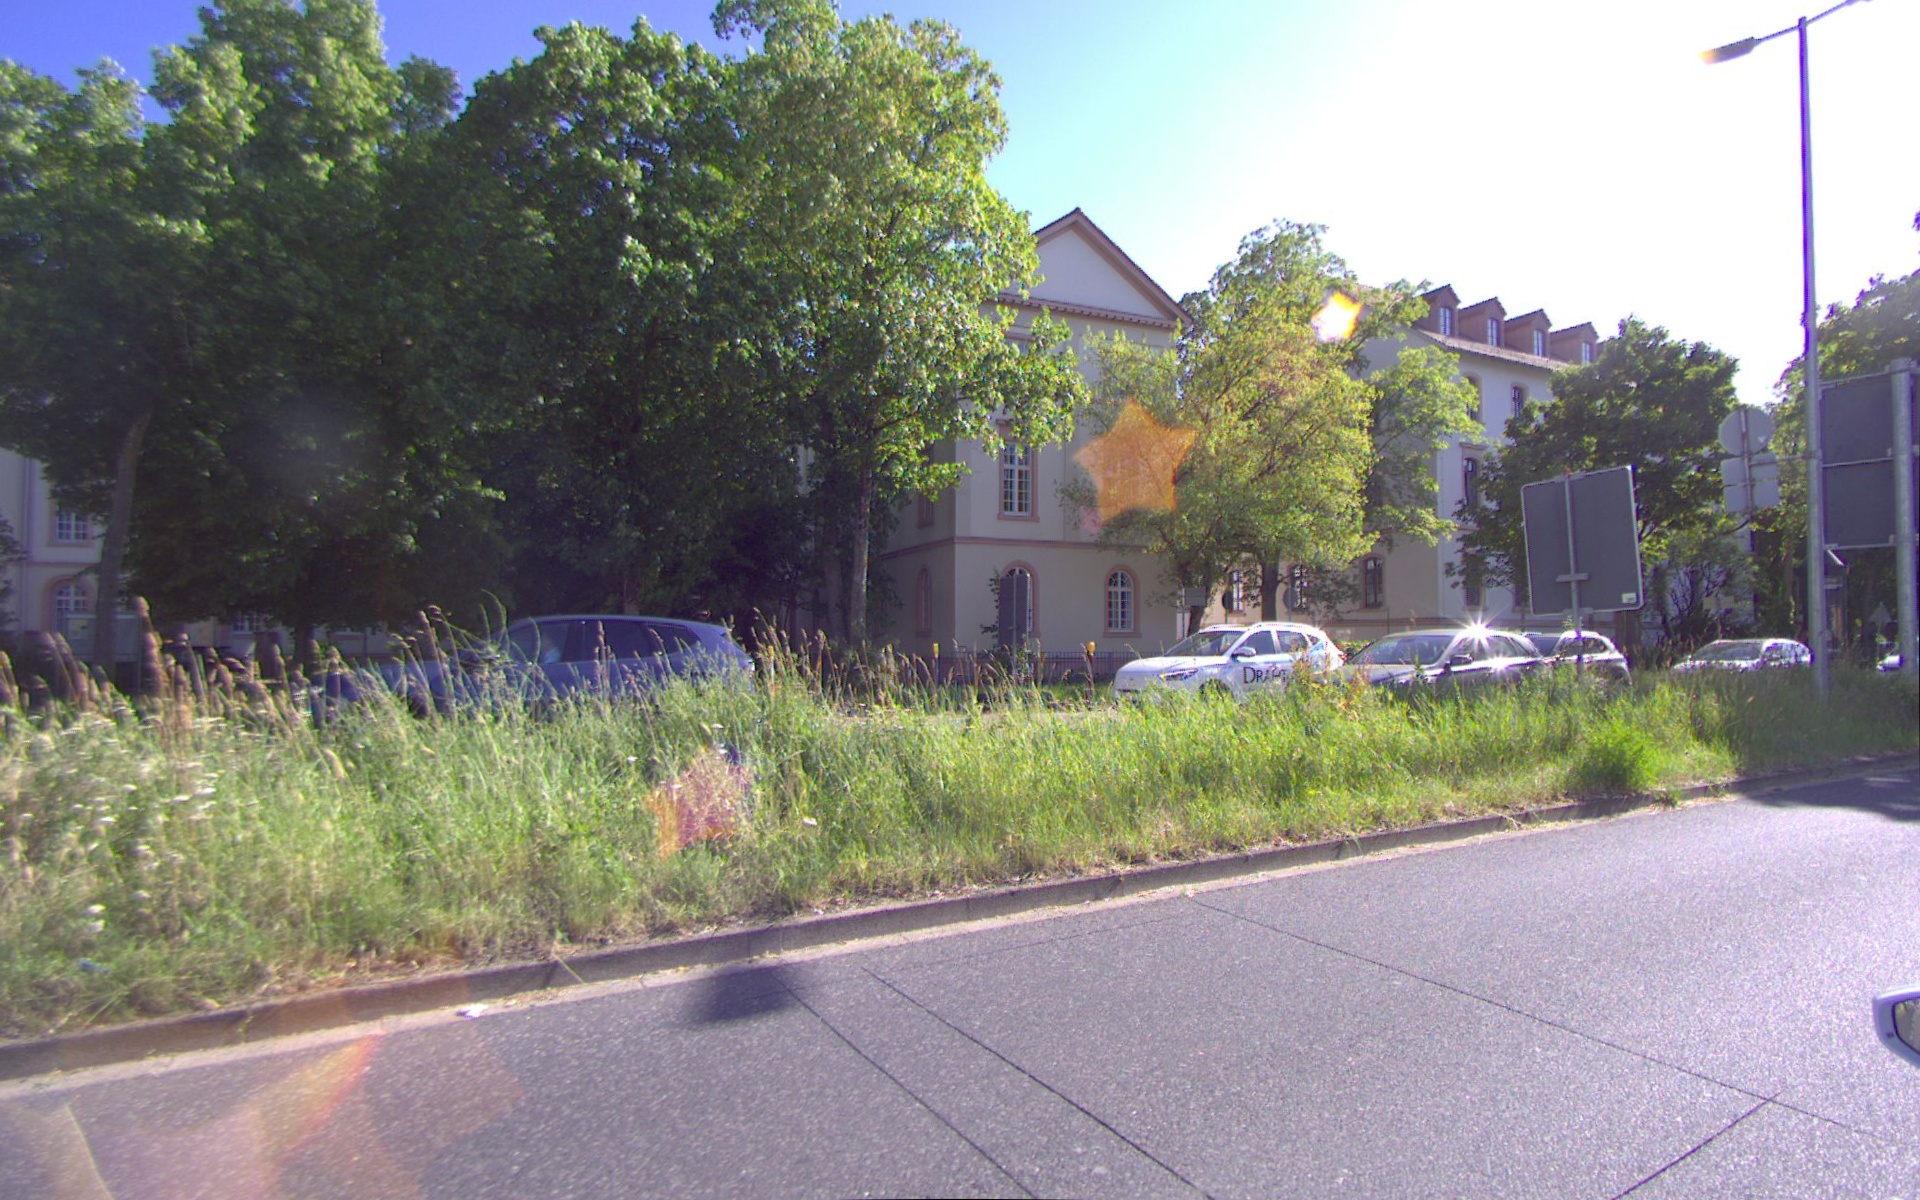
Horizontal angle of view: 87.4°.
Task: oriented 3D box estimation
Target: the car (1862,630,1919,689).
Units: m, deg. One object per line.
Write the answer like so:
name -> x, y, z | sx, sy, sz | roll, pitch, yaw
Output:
car -> 28.734, 1.734, 29.670 | 4.485, 1.647, 1.891 | 2, -3, -31

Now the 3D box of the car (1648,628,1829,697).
car -> 18.976, 1.469, 24.454 | 4.609, 1.539, 1.831 | 1, -3, -29

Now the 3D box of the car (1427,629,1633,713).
car -> 11.639, 1.437, 20.458 | 4.209, 1.539, 1.787 | 3, -2, -30

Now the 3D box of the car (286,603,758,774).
car -> -4.606, 0.873, 10.933 | 4.394, 1.539, 1.787 | 2, -2, -31

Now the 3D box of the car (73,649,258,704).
car -> -21.045, 2.001, 26.782 | 3.448, 1.341, 1.764 | 1, -2, -20

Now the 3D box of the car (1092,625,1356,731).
car -> 4.371, 1.207, 16.475 | 4.210, 1.539, 1.787 | 2, -2, -31

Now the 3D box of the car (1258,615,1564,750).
car -> 6.387, 1.169, 14.096 | 4.274, 1.639, 1.745 | 5, -3, -30
